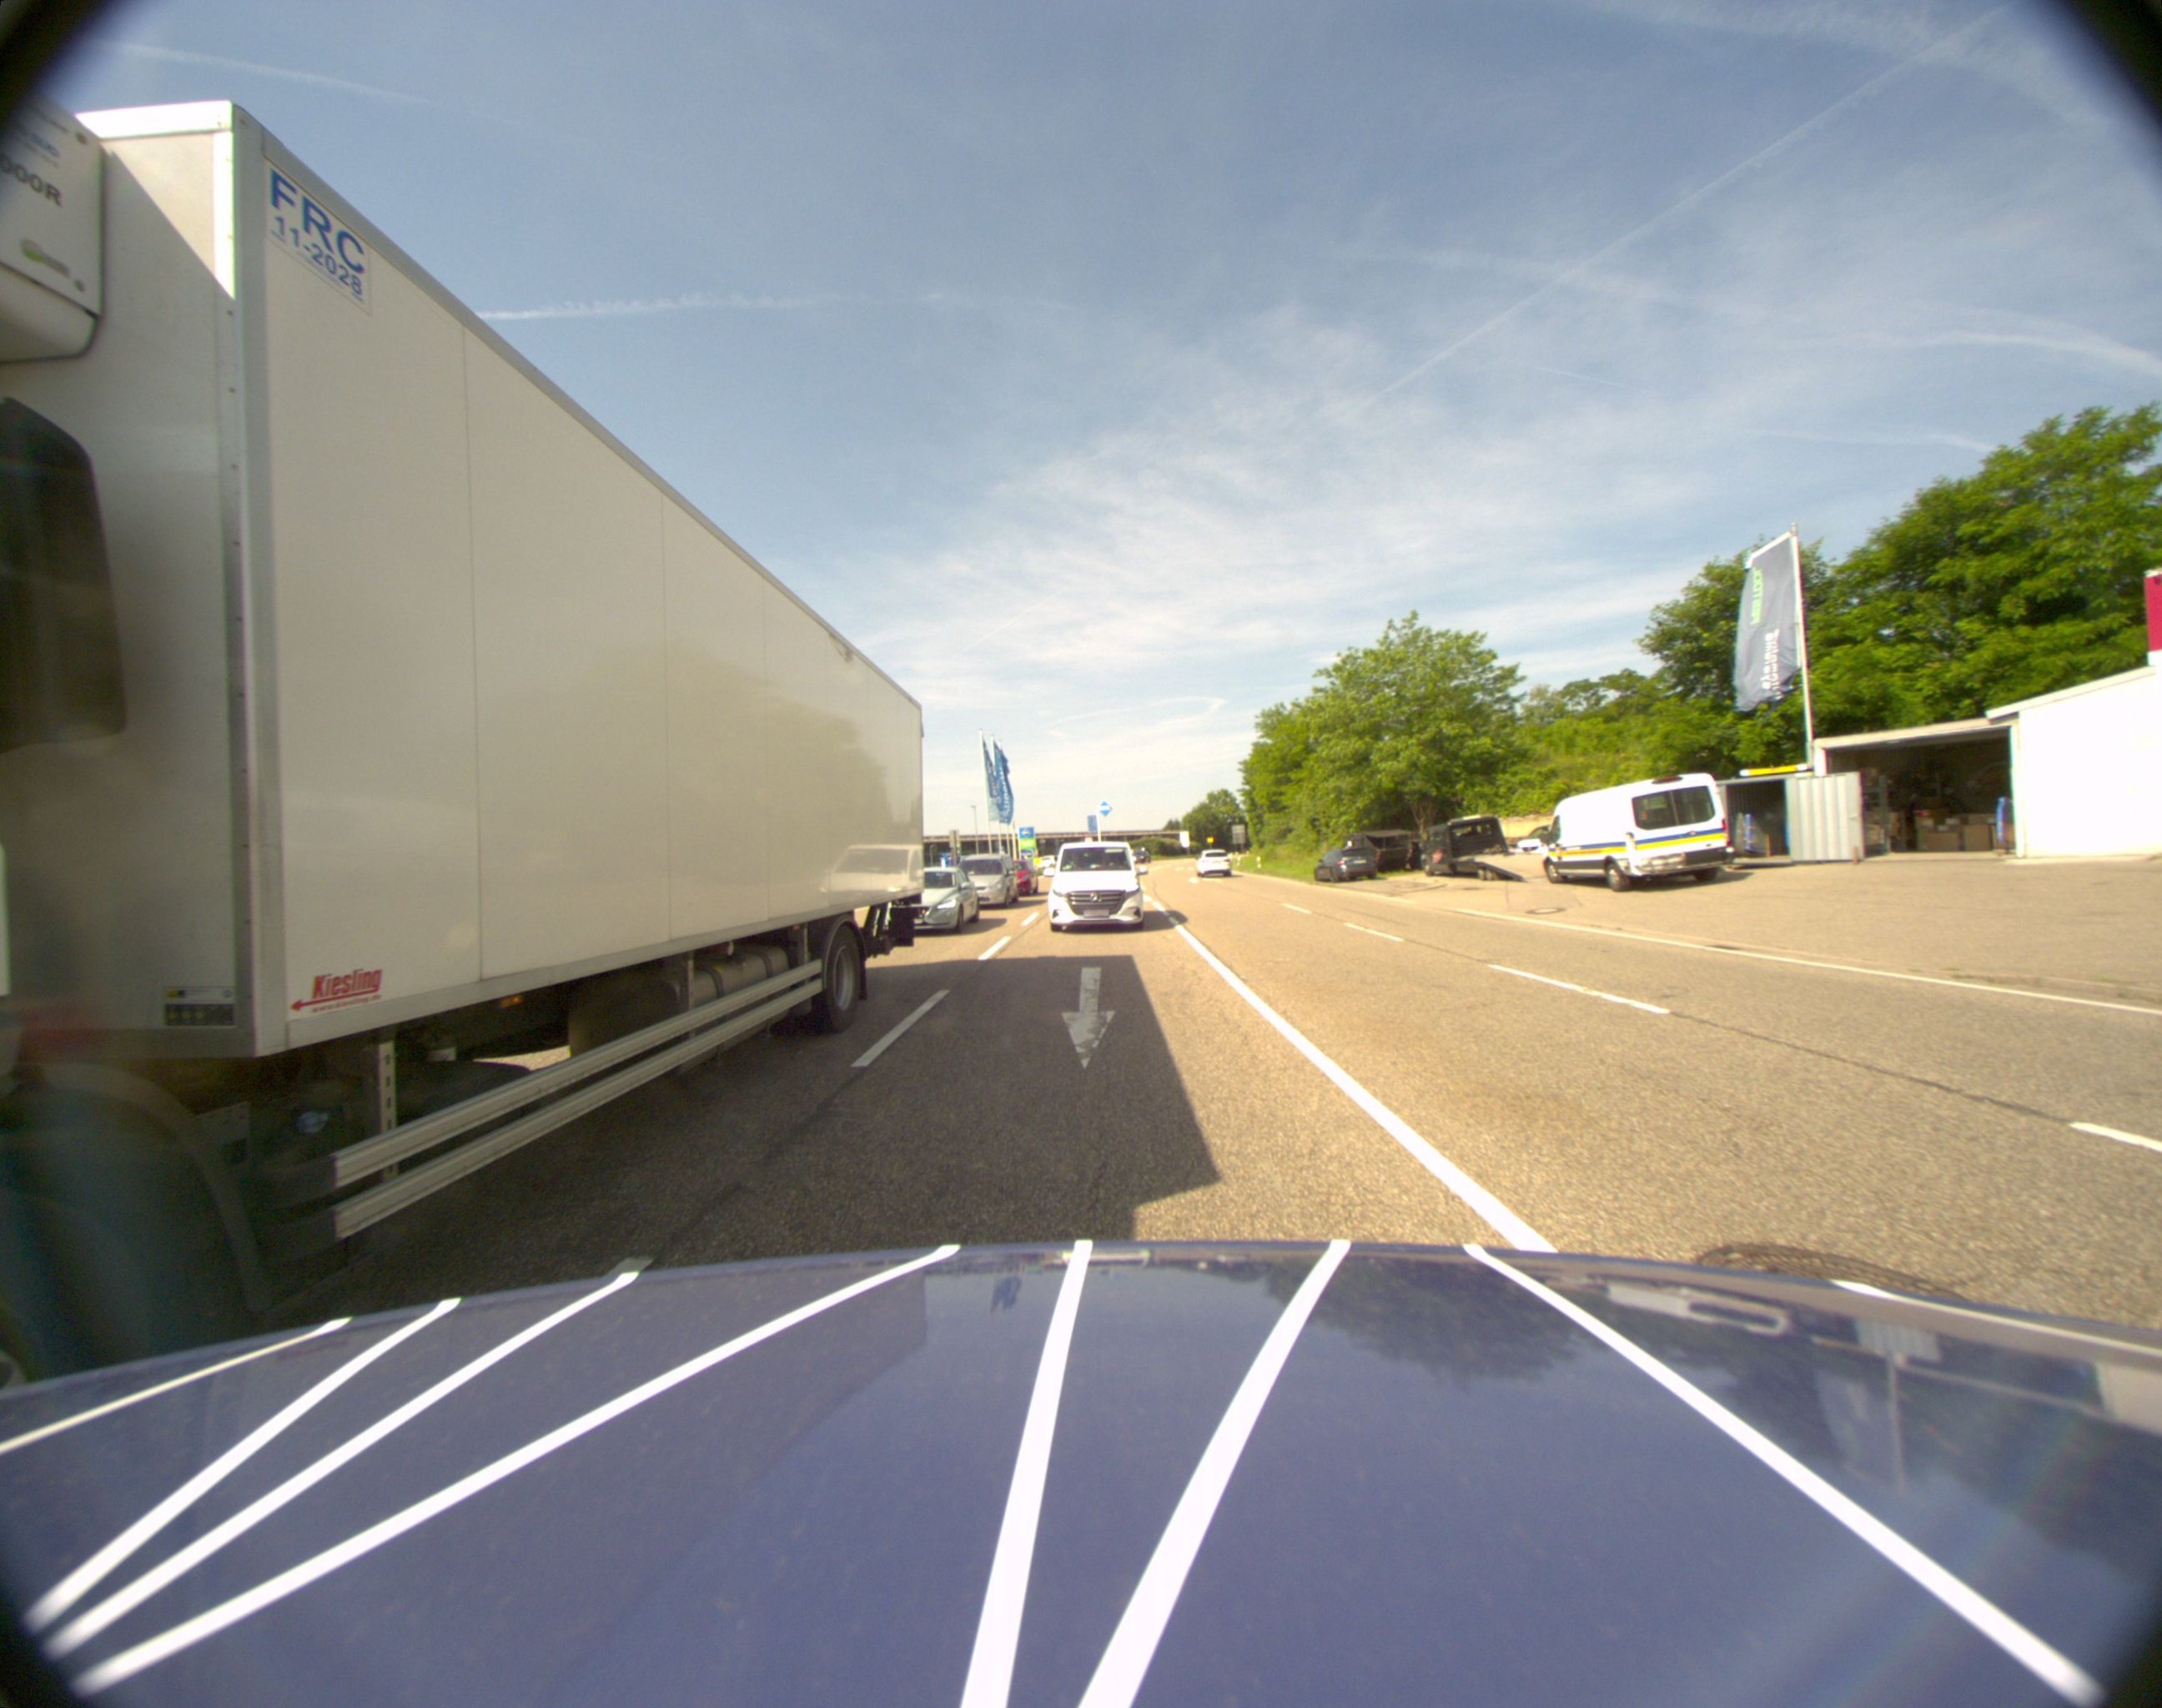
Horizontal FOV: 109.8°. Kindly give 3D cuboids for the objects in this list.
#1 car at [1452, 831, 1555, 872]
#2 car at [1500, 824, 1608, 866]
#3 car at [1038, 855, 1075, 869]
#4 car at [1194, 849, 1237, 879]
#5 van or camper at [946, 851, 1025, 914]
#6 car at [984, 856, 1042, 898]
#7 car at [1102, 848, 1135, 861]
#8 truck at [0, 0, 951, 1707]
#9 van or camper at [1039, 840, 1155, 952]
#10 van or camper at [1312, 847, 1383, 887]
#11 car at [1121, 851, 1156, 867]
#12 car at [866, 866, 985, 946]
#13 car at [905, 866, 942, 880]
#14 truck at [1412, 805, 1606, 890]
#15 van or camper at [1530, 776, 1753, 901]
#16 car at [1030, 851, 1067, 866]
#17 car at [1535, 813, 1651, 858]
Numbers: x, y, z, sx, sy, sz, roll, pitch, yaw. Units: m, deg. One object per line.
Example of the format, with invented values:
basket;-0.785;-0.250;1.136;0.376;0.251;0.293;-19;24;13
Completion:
car;18.199;-0.104;32.774;3.673;1.502;1.715;-3;0;-16
car;19.216;-0.367;30.864;3.674;1.460;1.737;-3;0;-19
car;-3.131;1.001;97.299;4.248;1.628;1.826;-3;-1;28
car;7.887;0.581;44.953;1.940;1.664;4.001;-1;0;2
van or camper;-3.017;0.835;25.025;1.751;1.777;5.133;-3;0;1
car;-2.729;0.903;31.273;1.805;1.563;3.714;-1;0;4
car;5.378;0.102;109.806;4.248;1.628;1.826;-3;-1;28
truck;-3.504;0.034;5.405;2.886;3.788;11.142;-3;0;1
van or camper;0.547;0.764;16.552;1.997;2.002;5.292;-2;0;6
van or camper;11.517;0.532;33.103;1.643;1.515;4.468;-4;0;3
car;6.608;0.572;86.794;1.864;1.631;4.429;-3;0;34
car;-3.349;1.069;17.177;1.739;1.420;4.225;-3;0;0
car;-18.414;2.181;88.809;4.035;1.449;1.826;-4;-1;34
truck;14.829;-0.199;27.333;2.336;2.283;8.805;-8;0;4
van or camper;13.892;-0.354;19.460;2.158;2.484;5.955;-7;-1;13
car;-4.112;0.594;95.608;4.248;1.628;1.826;-3;-1;28
car;19.477;-0.703;28.921;3.674;1.460;1.737;-3;0;-19
